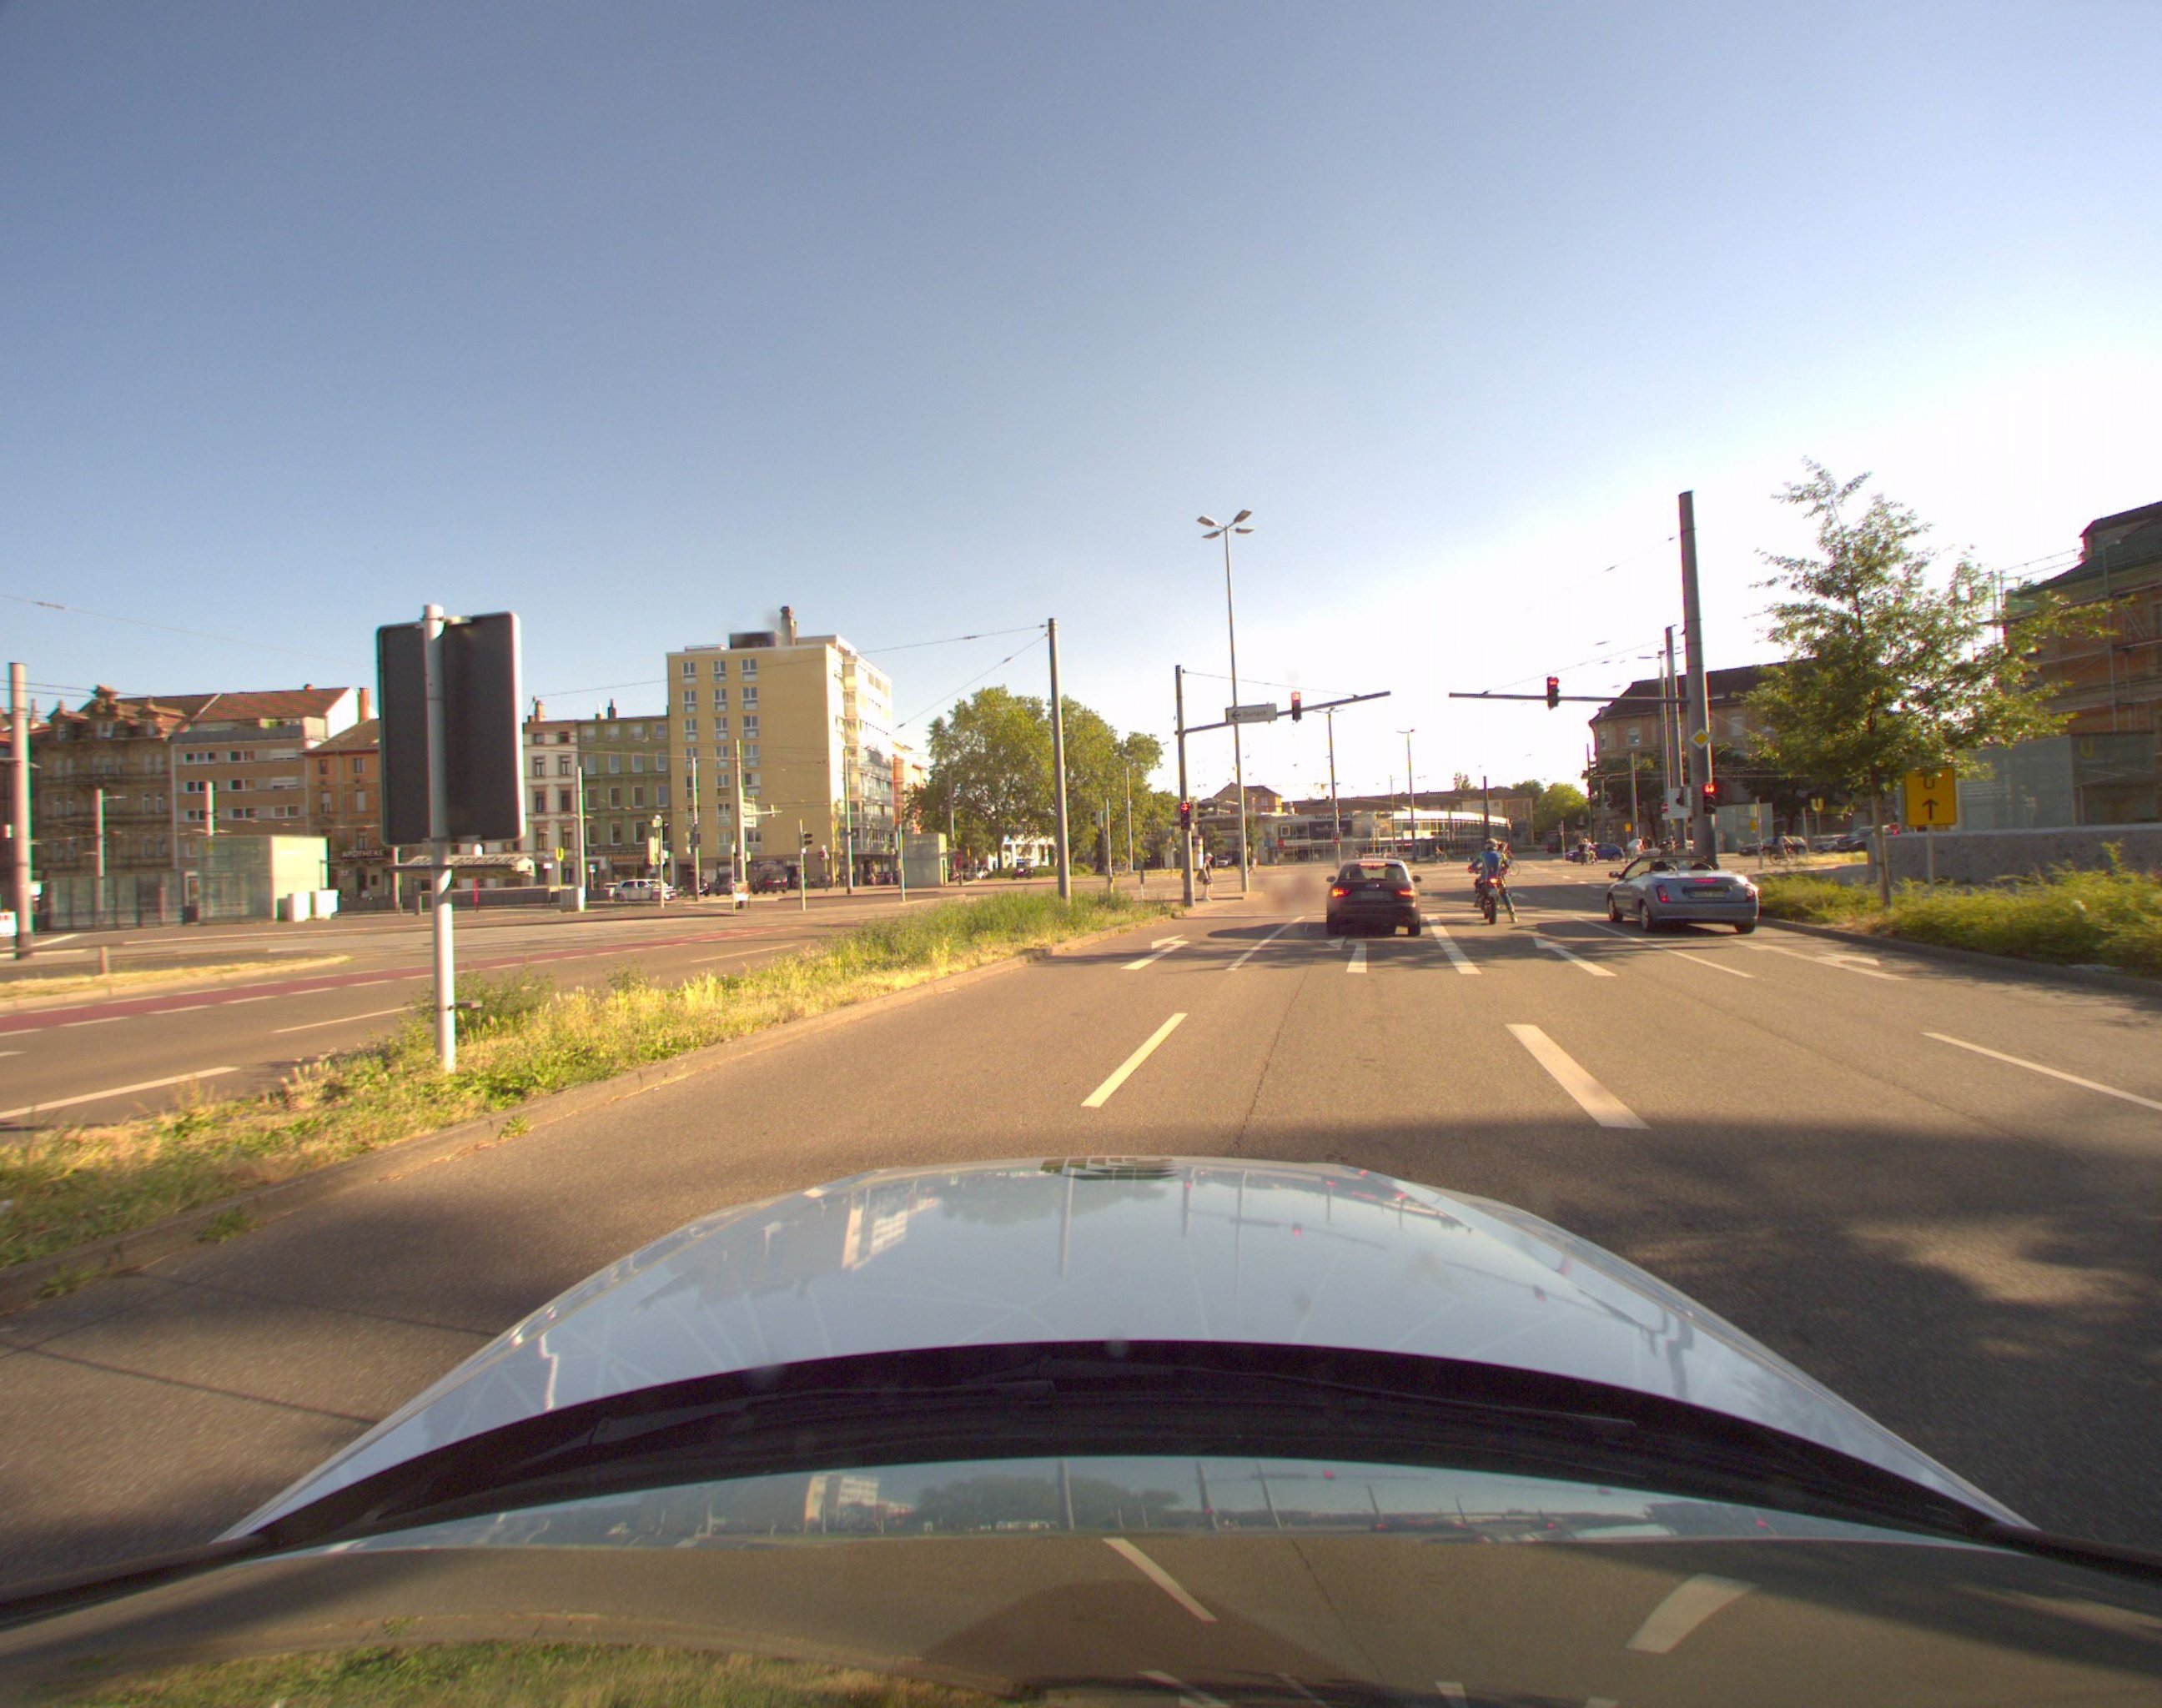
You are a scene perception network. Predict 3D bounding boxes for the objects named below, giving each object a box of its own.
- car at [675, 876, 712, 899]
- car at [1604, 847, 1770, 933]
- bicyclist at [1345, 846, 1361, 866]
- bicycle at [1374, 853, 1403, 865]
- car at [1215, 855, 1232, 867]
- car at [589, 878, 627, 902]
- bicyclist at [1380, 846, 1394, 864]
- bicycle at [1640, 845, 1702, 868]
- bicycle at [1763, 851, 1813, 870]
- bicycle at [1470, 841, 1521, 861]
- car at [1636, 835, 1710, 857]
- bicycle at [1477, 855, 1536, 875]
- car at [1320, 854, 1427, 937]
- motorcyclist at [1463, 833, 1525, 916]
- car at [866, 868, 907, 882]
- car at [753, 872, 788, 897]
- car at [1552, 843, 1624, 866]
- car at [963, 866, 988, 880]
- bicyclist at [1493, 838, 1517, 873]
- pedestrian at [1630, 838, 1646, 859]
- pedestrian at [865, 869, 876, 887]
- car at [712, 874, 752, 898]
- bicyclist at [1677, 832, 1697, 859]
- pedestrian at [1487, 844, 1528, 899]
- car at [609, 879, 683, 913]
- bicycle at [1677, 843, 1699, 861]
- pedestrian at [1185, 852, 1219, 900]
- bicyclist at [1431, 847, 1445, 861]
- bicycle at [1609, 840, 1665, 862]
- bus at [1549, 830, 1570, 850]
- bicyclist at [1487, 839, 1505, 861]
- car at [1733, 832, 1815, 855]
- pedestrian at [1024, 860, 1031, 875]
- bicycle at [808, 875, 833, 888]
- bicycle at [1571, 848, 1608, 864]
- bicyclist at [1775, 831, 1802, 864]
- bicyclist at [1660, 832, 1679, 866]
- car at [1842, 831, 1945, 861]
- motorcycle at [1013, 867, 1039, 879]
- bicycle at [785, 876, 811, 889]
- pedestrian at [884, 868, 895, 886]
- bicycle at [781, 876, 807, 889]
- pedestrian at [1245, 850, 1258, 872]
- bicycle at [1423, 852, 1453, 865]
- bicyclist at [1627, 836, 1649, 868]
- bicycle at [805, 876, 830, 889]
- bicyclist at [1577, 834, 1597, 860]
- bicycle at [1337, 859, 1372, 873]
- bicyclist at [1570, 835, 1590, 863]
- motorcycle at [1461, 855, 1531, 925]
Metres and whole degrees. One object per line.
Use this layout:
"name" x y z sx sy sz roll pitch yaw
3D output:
"car" -31.931 2.717 67.016 1.849 1.719 3.954 -3 2 -38
"car" 11.572 0.611 15.846 1.784 1.444 4.001 -1 0 25
"bicyclist" 21.319 0.151 63.833 0.919 1.559 0.964 -2 -1 6
"bicycle" 27.337 0.409 72.371 2.288 0.979 0.860 -2 1 0
"car" 20.789 1.024 118.375 1.978 1.534 4.017 -2 1 15
"car" -39.305 2.954 67.624 2.097 1.719 3.964 -3 2 -38
"bicyclist" 27.217 0.079 72.379 0.920 1.559 0.861 -2 1 2
"bicycle" 29.942 0.123 41.377 2.469 1.133 0.865 -1 2 42
"bicycle" 37.350 0.328 43.035 2.301 0.905 0.856 -2 1 -16
"bicycle" 37.451 -0.259 73.548 3.970 1.690 1.140 -2 1 3
"car" 44.752 -0.616 61.622 4.075 1.452 1.956 -2 -1 5
"bicycle" 21.168 0.541 40.526 2.485 0.874 0.860 -2 1 -1
"car" 5.942 0.742 16.447 1.785 1.444 3.999 -1 0 21
"motorcyclist" 8.846 0.446 17.490 1.086 1.721 0.941 -2 -1 22
"car" -20.984 2.260 88.092 3.976 1.422 1.812 -2 -1 -2
"car" -25.554 2.476 67.058 1.860 1.857 3.959 -3 1 -33
"car" 39.870 0.065 64.130 4.560 1.594 1.965 -3 -1 24
"car" -11.583 2.059 89.384 1.838 1.452 4.006 -2 -1 5
"bicyclist" 21.098 0.071 40.519 0.743 1.690 0.860 -2 1 0
"pedestrian" 47.282 -0.468 69.102 0.916 1.676 0.787 -3 -1 21
"pedestrian" -20.087 2.296 77.740 0.772 1.676 0.783 -2 -1 4
"car" -28.707 2.595 66.909 1.849 1.748 3.953 -3 2 -40
"bicyclist" 38.148 -0.536 51.278 0.782 1.594 0.953 -5 -3 29
"pedestrian" 13.316 0.552 25.458 0.828 1.672 0.694 -2 -1 -18
"car" -28.814 2.757 53.966 3.720 2.013 2.001 -2 1 1
"bicycle" 38.181 -0.119 51.232 0.782 1.039 1.975 -5 -2 29
"pedestrian" 4.133 0.746 27.839 1.085 1.606 0.701 -2 1 11
"bicyclist" 30.656 0.016 69.914 0.712 1.143 0.835 -2 1 -8
"bicycle" 30.633 -0.170 44.886 2.482 1.133 0.861 -2 1 3
"bus" 76.162 -2.249 129.535 2.331 2.883 9.641 -1 1 34
"bicyclist" 37.446 -0.373 73.559 1.066 1.900 1.124 -2 1 3
"car" 49.796 -0.731 58.576 4.066 1.486 1.958 -2 -1 8
"pedestrian" -7.310 1.862 111.908 0.583 2.014 0.714 -3 -1 21
"bicycle" -24.268 2.570 75.861 2.034 1.090 0.777 -2 -1 2
"bicycle" 33.012 0.140 52.849 2.305 0.905 0.854 -2 1 -21
"bicyclist" 37.362 -0.335 43.032 0.650 1.690 0.856 -2 1 -15
"bicyclist" 29.914 -0.249 41.382 0.643 1.690 0.865 -1 1 42
"car" 57.308 -0.535 57.545 4.800 1.893 1.961 -2 -1 14
"motorcycle" -5.024 1.745 74.201 2.271 1.054 0.689 -2 1 8
"bicycle" -26.390 2.640 75.929 2.034 1.090 0.777 -2 -1 2
"pedestrian" -18.294 2.172 77.864 0.772 1.676 0.783 -2 -1 4
"bicycle" -26.427 2.661 75.057 2.034 1.090 0.777 -2 -1 2
"pedestrian" 14.794 0.585 70.616 0.981 1.816 0.924 -2 1 19
"bicycle" 30.656 0.385 69.924 2.294 0.959 0.858 -2 1 -7
"bicyclist" 30.681 -0.119 44.876 0.646 1.690 0.861 -2 1 3
"bicycle" -24.253 2.589 75.012 2.034 1.090 0.777 -2 -1 2
"bicyclist" 32.812 -0.459 52.770 0.651 1.690 0.854 -2 1 -21
"bicycle" 21.388 0.914 63.829 2.426 1.003 0.964 -2 -1 5
"bicyclist" 32.215 -0.323 52.574 0.584 1.778 0.861 -2 -1 -20
"motorcycle" 8.820 0.717 17.410 1.086 1.377 2.667 -2 -1 22
